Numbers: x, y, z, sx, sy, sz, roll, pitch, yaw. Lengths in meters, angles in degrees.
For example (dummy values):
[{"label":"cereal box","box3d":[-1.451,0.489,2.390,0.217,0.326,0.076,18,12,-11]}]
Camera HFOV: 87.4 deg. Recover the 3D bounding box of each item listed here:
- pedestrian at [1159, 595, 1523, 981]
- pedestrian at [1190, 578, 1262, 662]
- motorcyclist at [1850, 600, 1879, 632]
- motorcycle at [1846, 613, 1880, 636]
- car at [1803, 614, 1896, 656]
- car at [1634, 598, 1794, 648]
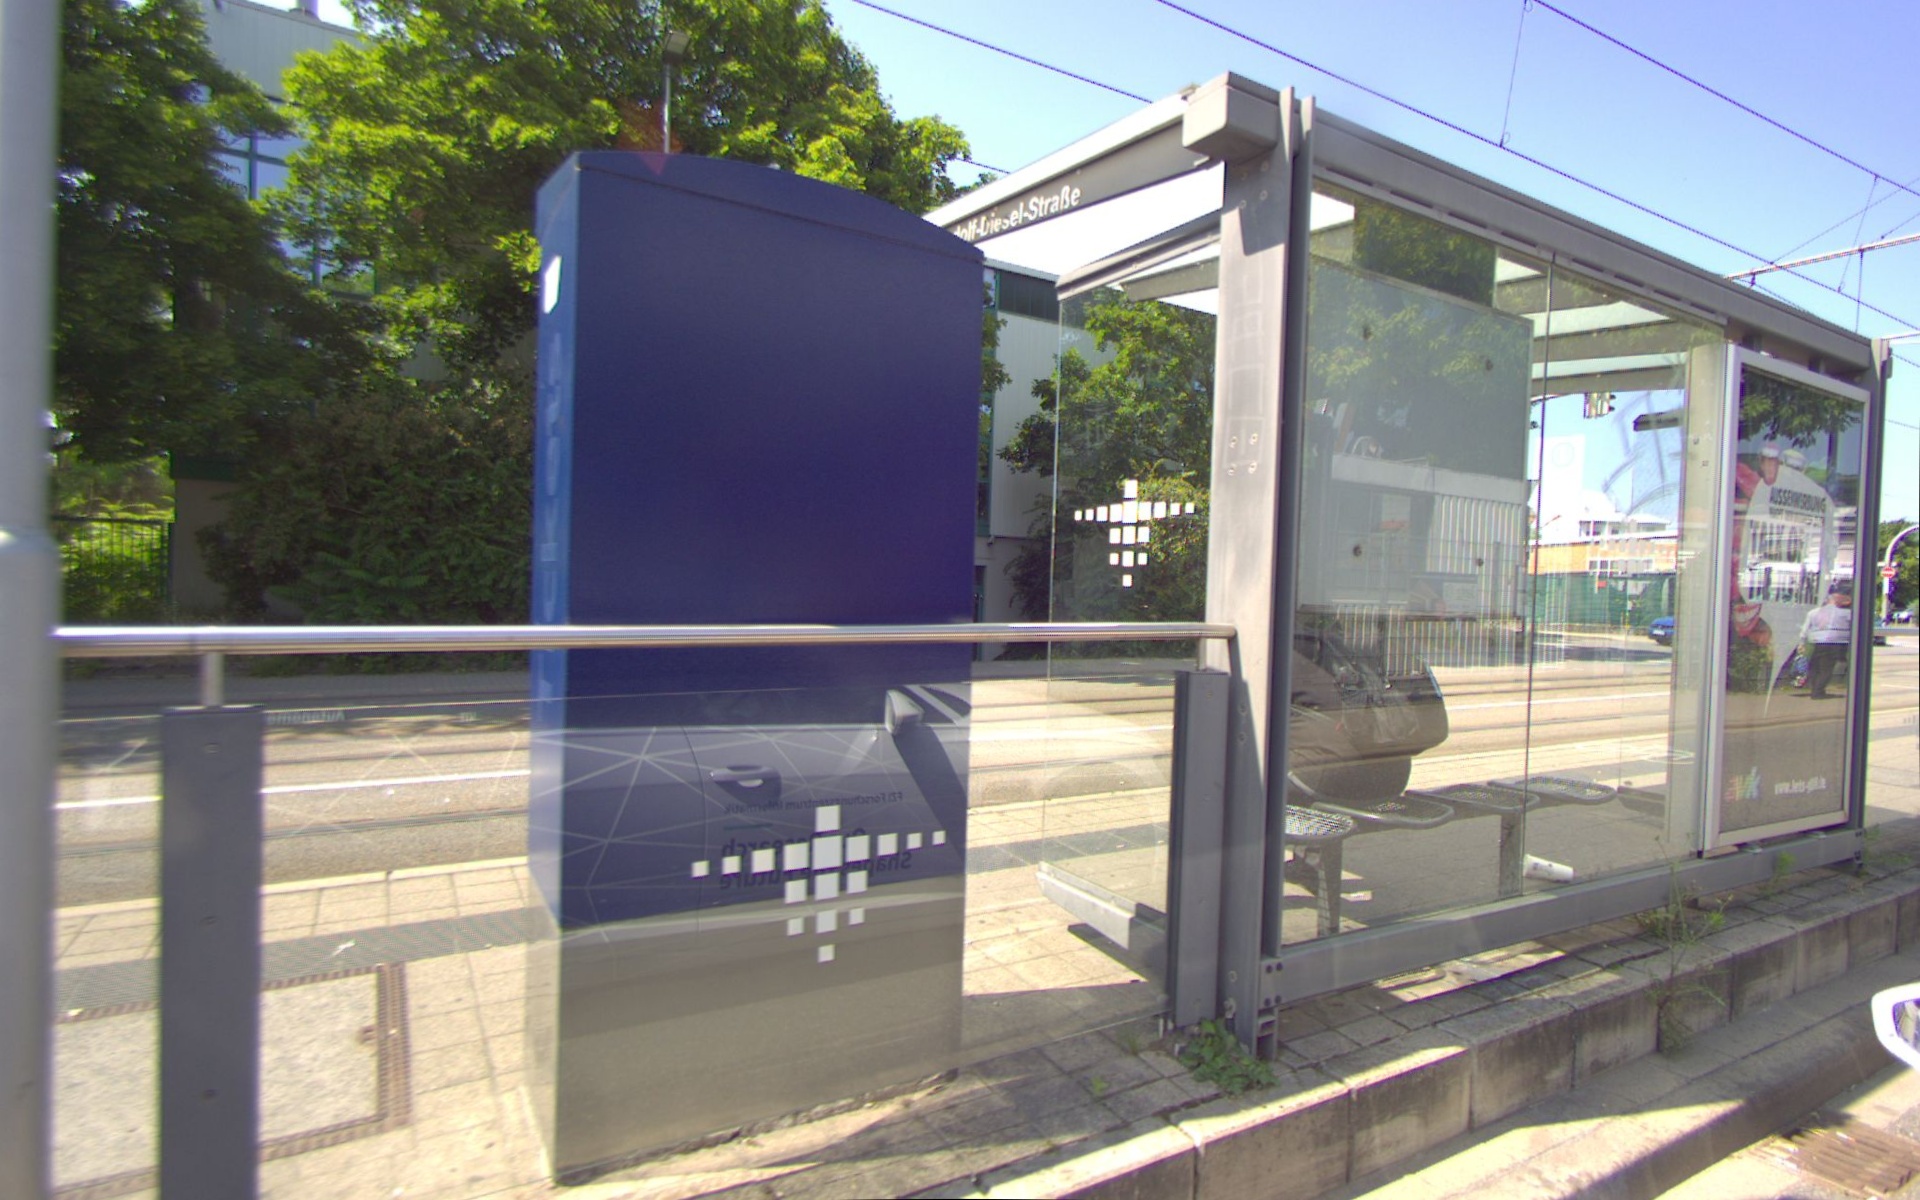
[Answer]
[{"label":"pedestrian","box3d":[1.302,0.556,3.546,0.718,1.114,0.938,0,2,-31]},{"label":"pedestrian","box3d":[5.537,0.414,20.915,1.147,1.693,0.881,1,1,-31]},{"label":"motorcyclist","box3d":[42.849,0.758,47.604,0.823,1.495,0.961,2,0,32]},{"label":"motorcycle","box3d":[42.901,1.183,47.731,0.810,1.024,1.960,2,-1,30]},{"label":"car","box3d":[35.498,1.357,40.226,1.879,1.461,4.586,2,1,30]},{"label":"car","box3d":[25.055,0.748,33.441,4.083,1.557,1.804,1,1,-6]}]
